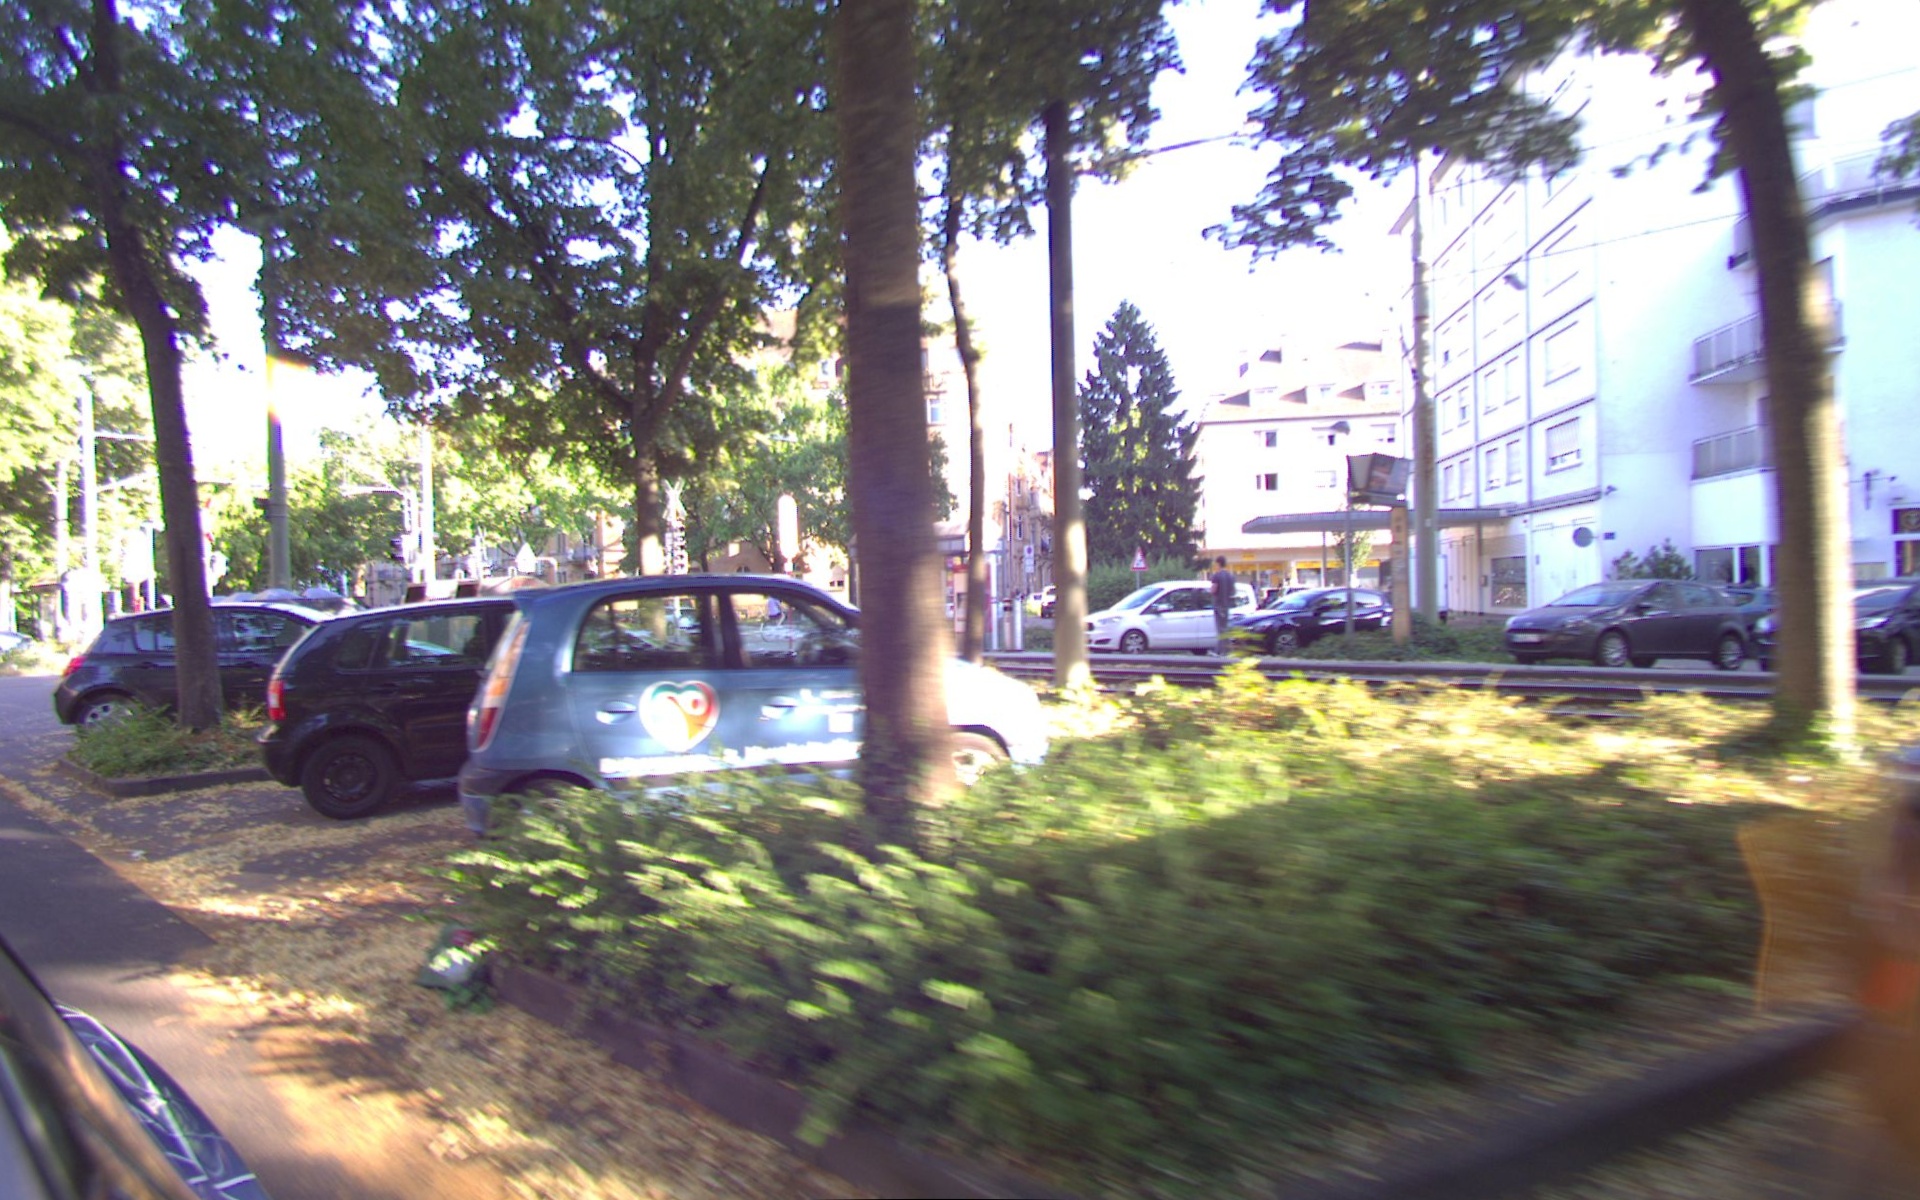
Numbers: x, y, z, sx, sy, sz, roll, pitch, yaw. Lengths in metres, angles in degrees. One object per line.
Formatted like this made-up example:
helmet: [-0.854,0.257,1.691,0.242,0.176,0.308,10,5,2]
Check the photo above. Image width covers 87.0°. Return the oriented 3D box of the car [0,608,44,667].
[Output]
car: [-29.738,1.218,29.332,4.367,1.634,1.640,-4,3,-27]

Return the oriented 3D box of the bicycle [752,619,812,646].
bicycle: [-6.178,1.115,35.291,0.641,0.864,2.239,-2,0,36]

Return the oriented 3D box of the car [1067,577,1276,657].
car: [4.616,0.395,22.235,4.079,1.634,1.894,1,-1,-18]

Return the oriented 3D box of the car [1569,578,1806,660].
car: [16.194,0.444,22.665,4.031,1.590,1.830,-3,1,45]

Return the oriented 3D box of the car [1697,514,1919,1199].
car: [3.861,0.463,2.139,3.931,1.523,1.966,-4,1,-24]

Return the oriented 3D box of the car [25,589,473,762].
car: [-7.789,0.738,11.557,3.830,1.458,1.640,-4,3,-22]

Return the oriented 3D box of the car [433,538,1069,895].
car: [-1.215,0.534,6.185,3.296,1.579,1.577,-4,1,-20]

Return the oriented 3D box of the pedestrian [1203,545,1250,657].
pedestrian: [4.934,0.012,18.746,0.528,2.029,0.645,-1,0,-16]

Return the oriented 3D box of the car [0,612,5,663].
car: [-32.324,1.355,30.938,4.171,1.634,1.640,-4,3,-27]

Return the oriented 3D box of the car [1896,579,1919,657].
car: [20.199,0.274,18.808,4.031,1.414,1.830,-3,1,45]

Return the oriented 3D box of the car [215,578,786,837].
car: [-3.384,0.665,7.973,3.632,1.458,1.640,-4,3,-22]

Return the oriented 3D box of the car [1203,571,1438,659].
car: [7.183,0.323,20.291,4.080,1.634,1.893,1,-1,-15]

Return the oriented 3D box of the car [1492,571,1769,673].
car: [10.888,0.358,16.482,3.932,1.530,1.592,1,-1,-16]

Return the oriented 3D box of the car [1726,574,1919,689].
car: [13.261,0.370,14.382,3.816,1.455,1.859,-1,0,-17]

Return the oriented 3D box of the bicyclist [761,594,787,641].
bicyclist: [-6.437,0.592,34.961,0.551,1.602,0.672,-1,0,36]
